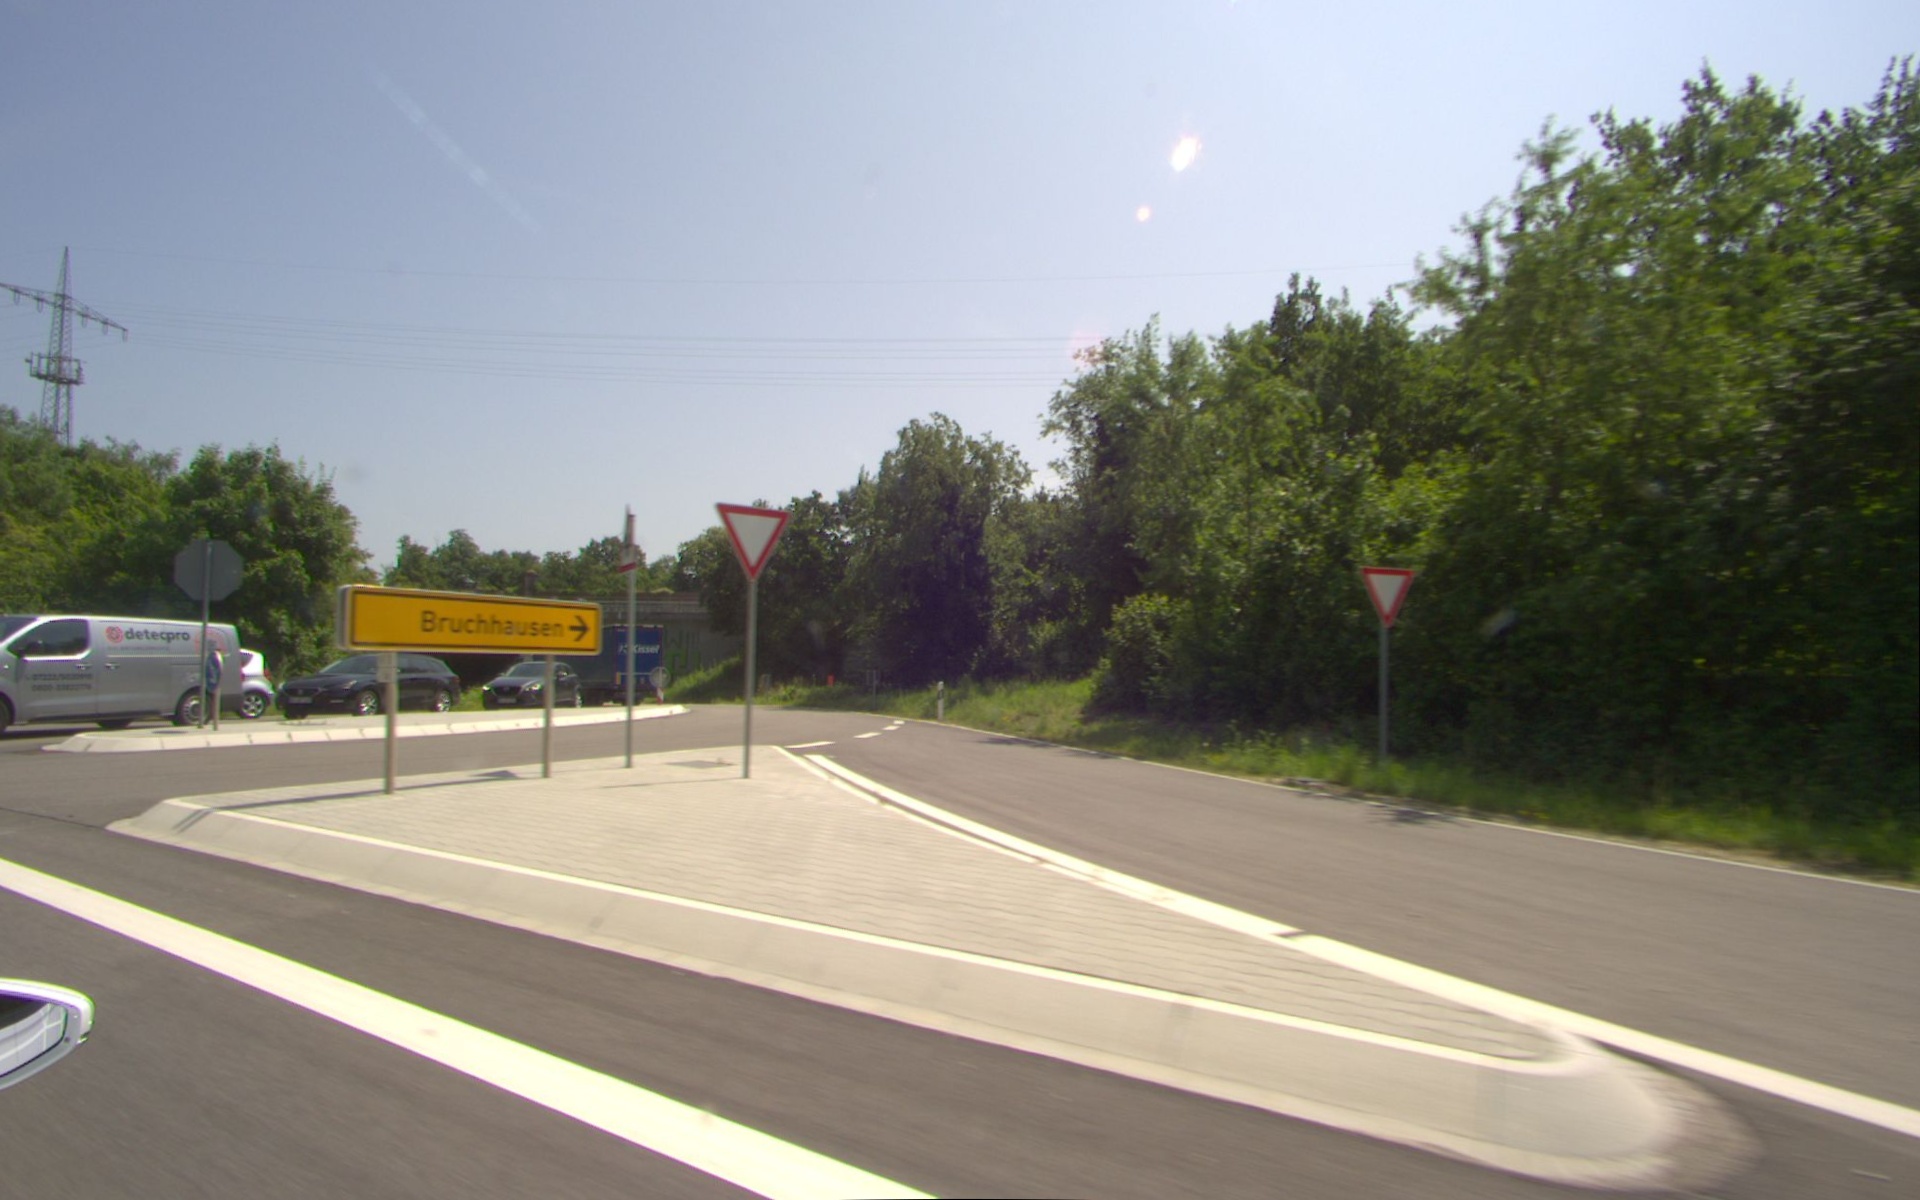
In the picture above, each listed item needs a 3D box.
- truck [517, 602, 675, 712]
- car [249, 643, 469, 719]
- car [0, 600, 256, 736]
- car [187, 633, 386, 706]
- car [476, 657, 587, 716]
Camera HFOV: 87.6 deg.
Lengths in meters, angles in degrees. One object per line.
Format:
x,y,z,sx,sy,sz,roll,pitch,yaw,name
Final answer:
-20.662,3.026,55.804,3.336,5.383,15.216,1,-2,-40,truck
-13.135,1.825,22.298,1.832,1.491,4.571,0,-5,4,car
-14.395,1.103,16.006,1.975,1.929,5.234,-1,-4,10,car
-15.978,1.591,24.037,1.810,1.600,3.995,-1,-2,7,car
-12.614,2.572,29.748,1.776,1.617,4.102,0,-5,-5,car
